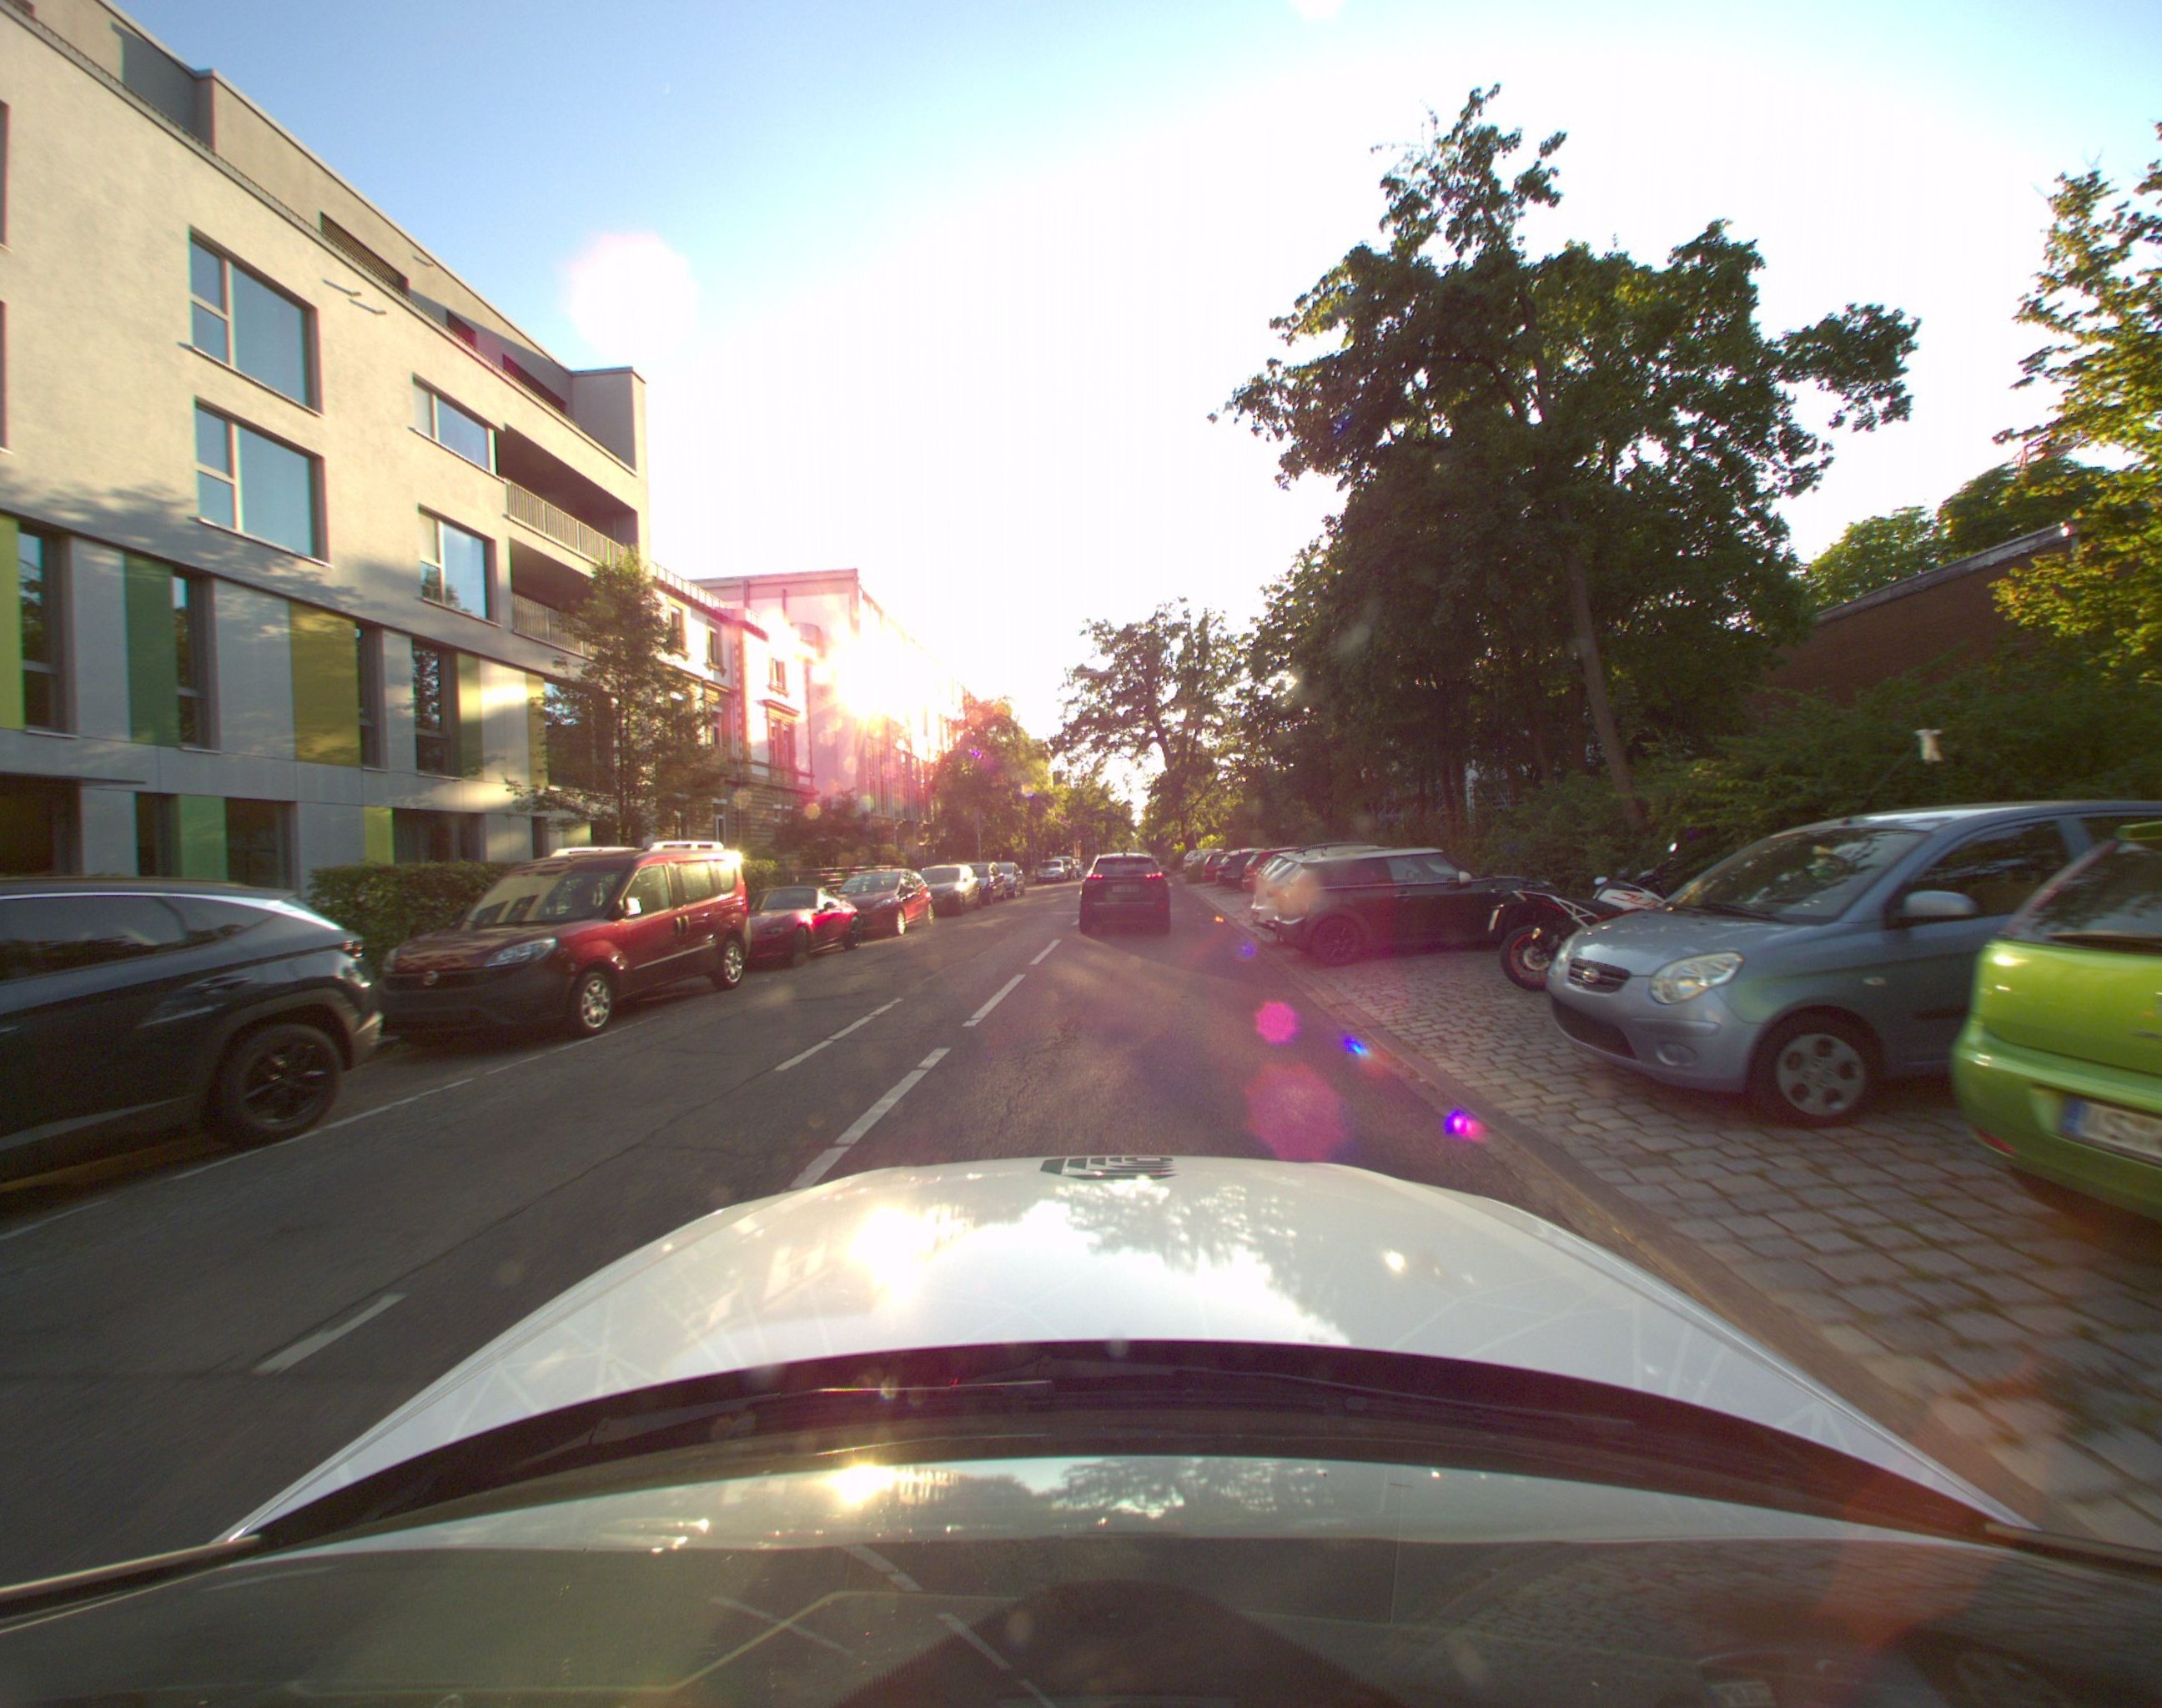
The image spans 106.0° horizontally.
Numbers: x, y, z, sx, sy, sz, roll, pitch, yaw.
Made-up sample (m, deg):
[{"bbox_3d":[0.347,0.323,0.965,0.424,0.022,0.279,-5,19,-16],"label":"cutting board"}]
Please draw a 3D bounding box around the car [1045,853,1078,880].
[{"bbox_3d":[-1.339,0.830,57.415,1.671,1.708,4.346,-4,0,5],"label":"car"}]

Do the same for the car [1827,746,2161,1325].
[{"bbox_3d":[4.658,0.402,2.199,3.610,1.540,1.674,-3,0,4],"label":"car"}]

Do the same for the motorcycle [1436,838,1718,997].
[{"bbox_3d":[4.634,0.589,7.773,2.079,1.304,0.780,-5,0,10],"label":"motorcycle"}]

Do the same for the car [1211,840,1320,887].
[{"bbox_3d":[7.243,0.374,32.236,3.905,1.454,1.835,-5,-1,5],"label":"car"}]

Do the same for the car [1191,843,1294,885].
[{"bbox_3d":[7.271,0.429,36.971,4.317,1.475,1.744,-5,1,5],"label":"car"}]

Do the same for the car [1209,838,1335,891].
[{"bbox_3d":[6.786,0.381,29.313,4.100,1.474,1.835,-5,-1,5],"label":"car"}]

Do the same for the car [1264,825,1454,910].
[{"bbox_3d":[6.291,0.306,18.795,3.708,1.498,1.822,-6,-1,4],"label":"car"}]

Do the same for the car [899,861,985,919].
[{"bbox_3d":[-4.105,1.028,24.732,1.591,1.455,4.059,-4,0,3],"label":"car"}]

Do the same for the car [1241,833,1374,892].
[{"bbox_3d":[7.314,0.275,26.604,3.790,1.474,1.834,-6,-1,4],"label":"car"}]

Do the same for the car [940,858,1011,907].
[{"bbox_3d":[-3.756,0.973,29.585,1.590,1.507,3.794,-4,0,6],"label":"car"}]

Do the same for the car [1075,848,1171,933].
[{"bbox_3d":[0.885,0.684,16.849,1.760,1.568,3.383,-1,0,3],"label":"car"}]

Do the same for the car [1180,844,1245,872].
[{"bbox_3d":[8.858,0.296,54.974,4.146,1.710,1.872,-2,0,8],"label":"car"}]

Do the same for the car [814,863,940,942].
[{"bbox_3d":[-4.525,1.019,18.633,1.592,1.455,3.865,-4,0,3],"label":"car"}]

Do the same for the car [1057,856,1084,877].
[{"bbox_3d":[-0.803,0.968,63.787,1.671,1.457,3.887,-4,0,5],"label":"car"}]

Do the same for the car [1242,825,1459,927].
[{"bbox_3d":[5.227,0.412,16.196,3.652,1.552,1.736,-6,0,2],"label":"car"}]

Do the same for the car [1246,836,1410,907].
[{"bbox_3d":[6.390,0.456,21.426,3.732,1.395,1.759,-6,-1,4],"label":"car"}]

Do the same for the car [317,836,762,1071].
[{"bbox_3d":[-5.455,0.840,9.061,1.800,1.889,4.242,-4,0,3],"label":"car"}]

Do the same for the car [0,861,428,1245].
[{"bbox_3d":[-5.728,0.963,3.651,1.734,1.676,4.421,-4,0,3],"label":"car"}]

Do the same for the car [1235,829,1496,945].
[{"bbox_3d":[4.580,0.516,13.550,3.652,1.444,1.736,-6,0,2],"label":"car"}]

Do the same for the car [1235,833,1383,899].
[{"bbox_3d":[6.565,0.359,23.820,3.790,1.474,1.759,-6,-1,4],"label":"car"}]

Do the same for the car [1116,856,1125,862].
[{"bbox_3d":[8.797,1.115,180.582,1.804,1.354,3.979,-3,0,1],"label":"car"}]

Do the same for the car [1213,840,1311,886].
[{"bbox_3d":[7.685,0.373,34.780,3.699,1.555,1.742,-5,-1,0],"label":"car"}]

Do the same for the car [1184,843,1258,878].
[{"bbox_3d":[7.743,0.347,45.357,3.732,1.594,1.697,-6,0,0],"label":"car"}]

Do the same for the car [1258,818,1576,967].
[{"bbox_3d":[4.450,0.492,11.211,3.596,1.525,1.673,-6,0,2],"label":"car"}]

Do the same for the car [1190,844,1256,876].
[{"bbox_3d":[8.297,0.357,47.768,3.573,1.566,1.820,-5,-1,3],"label":"car"}]

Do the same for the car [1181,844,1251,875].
[{"bbox_3d":[8.298,0.351,50.257,4.103,1.667,1.725,-3,0,4],"label":"car"}]

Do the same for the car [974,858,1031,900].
[{"bbox_3d":[-3.253,0.998,34.287,1.593,1.493,3.777,-4,0,5],"label":"car"}]

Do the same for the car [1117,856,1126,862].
[{"bbox_3d":[9.543,1.119,190.894,1.804,1.354,4.000,-3,0,1],"label":"car"}]

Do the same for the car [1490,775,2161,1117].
[{"bbox_3d":[4.511,0.433,4.729,3.372,1.525,1.672,-3,-1,2],"label":"car"}]

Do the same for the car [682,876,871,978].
[{"bbox_3d":[-4.994,1.141,13.940,1.549,1.280,3.736,-4,0,3],"label":"car"}]

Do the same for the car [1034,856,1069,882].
[{"bbox_3d":[-1.828,0.924,51.928,1.663,1.494,4.067,-2,0,5],"label":"car"}]

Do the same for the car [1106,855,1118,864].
[{"bbox_3d":[5.332,0.904,140.591,1.805,1.354,3.999,-3,0,0],"label":"car"}]
